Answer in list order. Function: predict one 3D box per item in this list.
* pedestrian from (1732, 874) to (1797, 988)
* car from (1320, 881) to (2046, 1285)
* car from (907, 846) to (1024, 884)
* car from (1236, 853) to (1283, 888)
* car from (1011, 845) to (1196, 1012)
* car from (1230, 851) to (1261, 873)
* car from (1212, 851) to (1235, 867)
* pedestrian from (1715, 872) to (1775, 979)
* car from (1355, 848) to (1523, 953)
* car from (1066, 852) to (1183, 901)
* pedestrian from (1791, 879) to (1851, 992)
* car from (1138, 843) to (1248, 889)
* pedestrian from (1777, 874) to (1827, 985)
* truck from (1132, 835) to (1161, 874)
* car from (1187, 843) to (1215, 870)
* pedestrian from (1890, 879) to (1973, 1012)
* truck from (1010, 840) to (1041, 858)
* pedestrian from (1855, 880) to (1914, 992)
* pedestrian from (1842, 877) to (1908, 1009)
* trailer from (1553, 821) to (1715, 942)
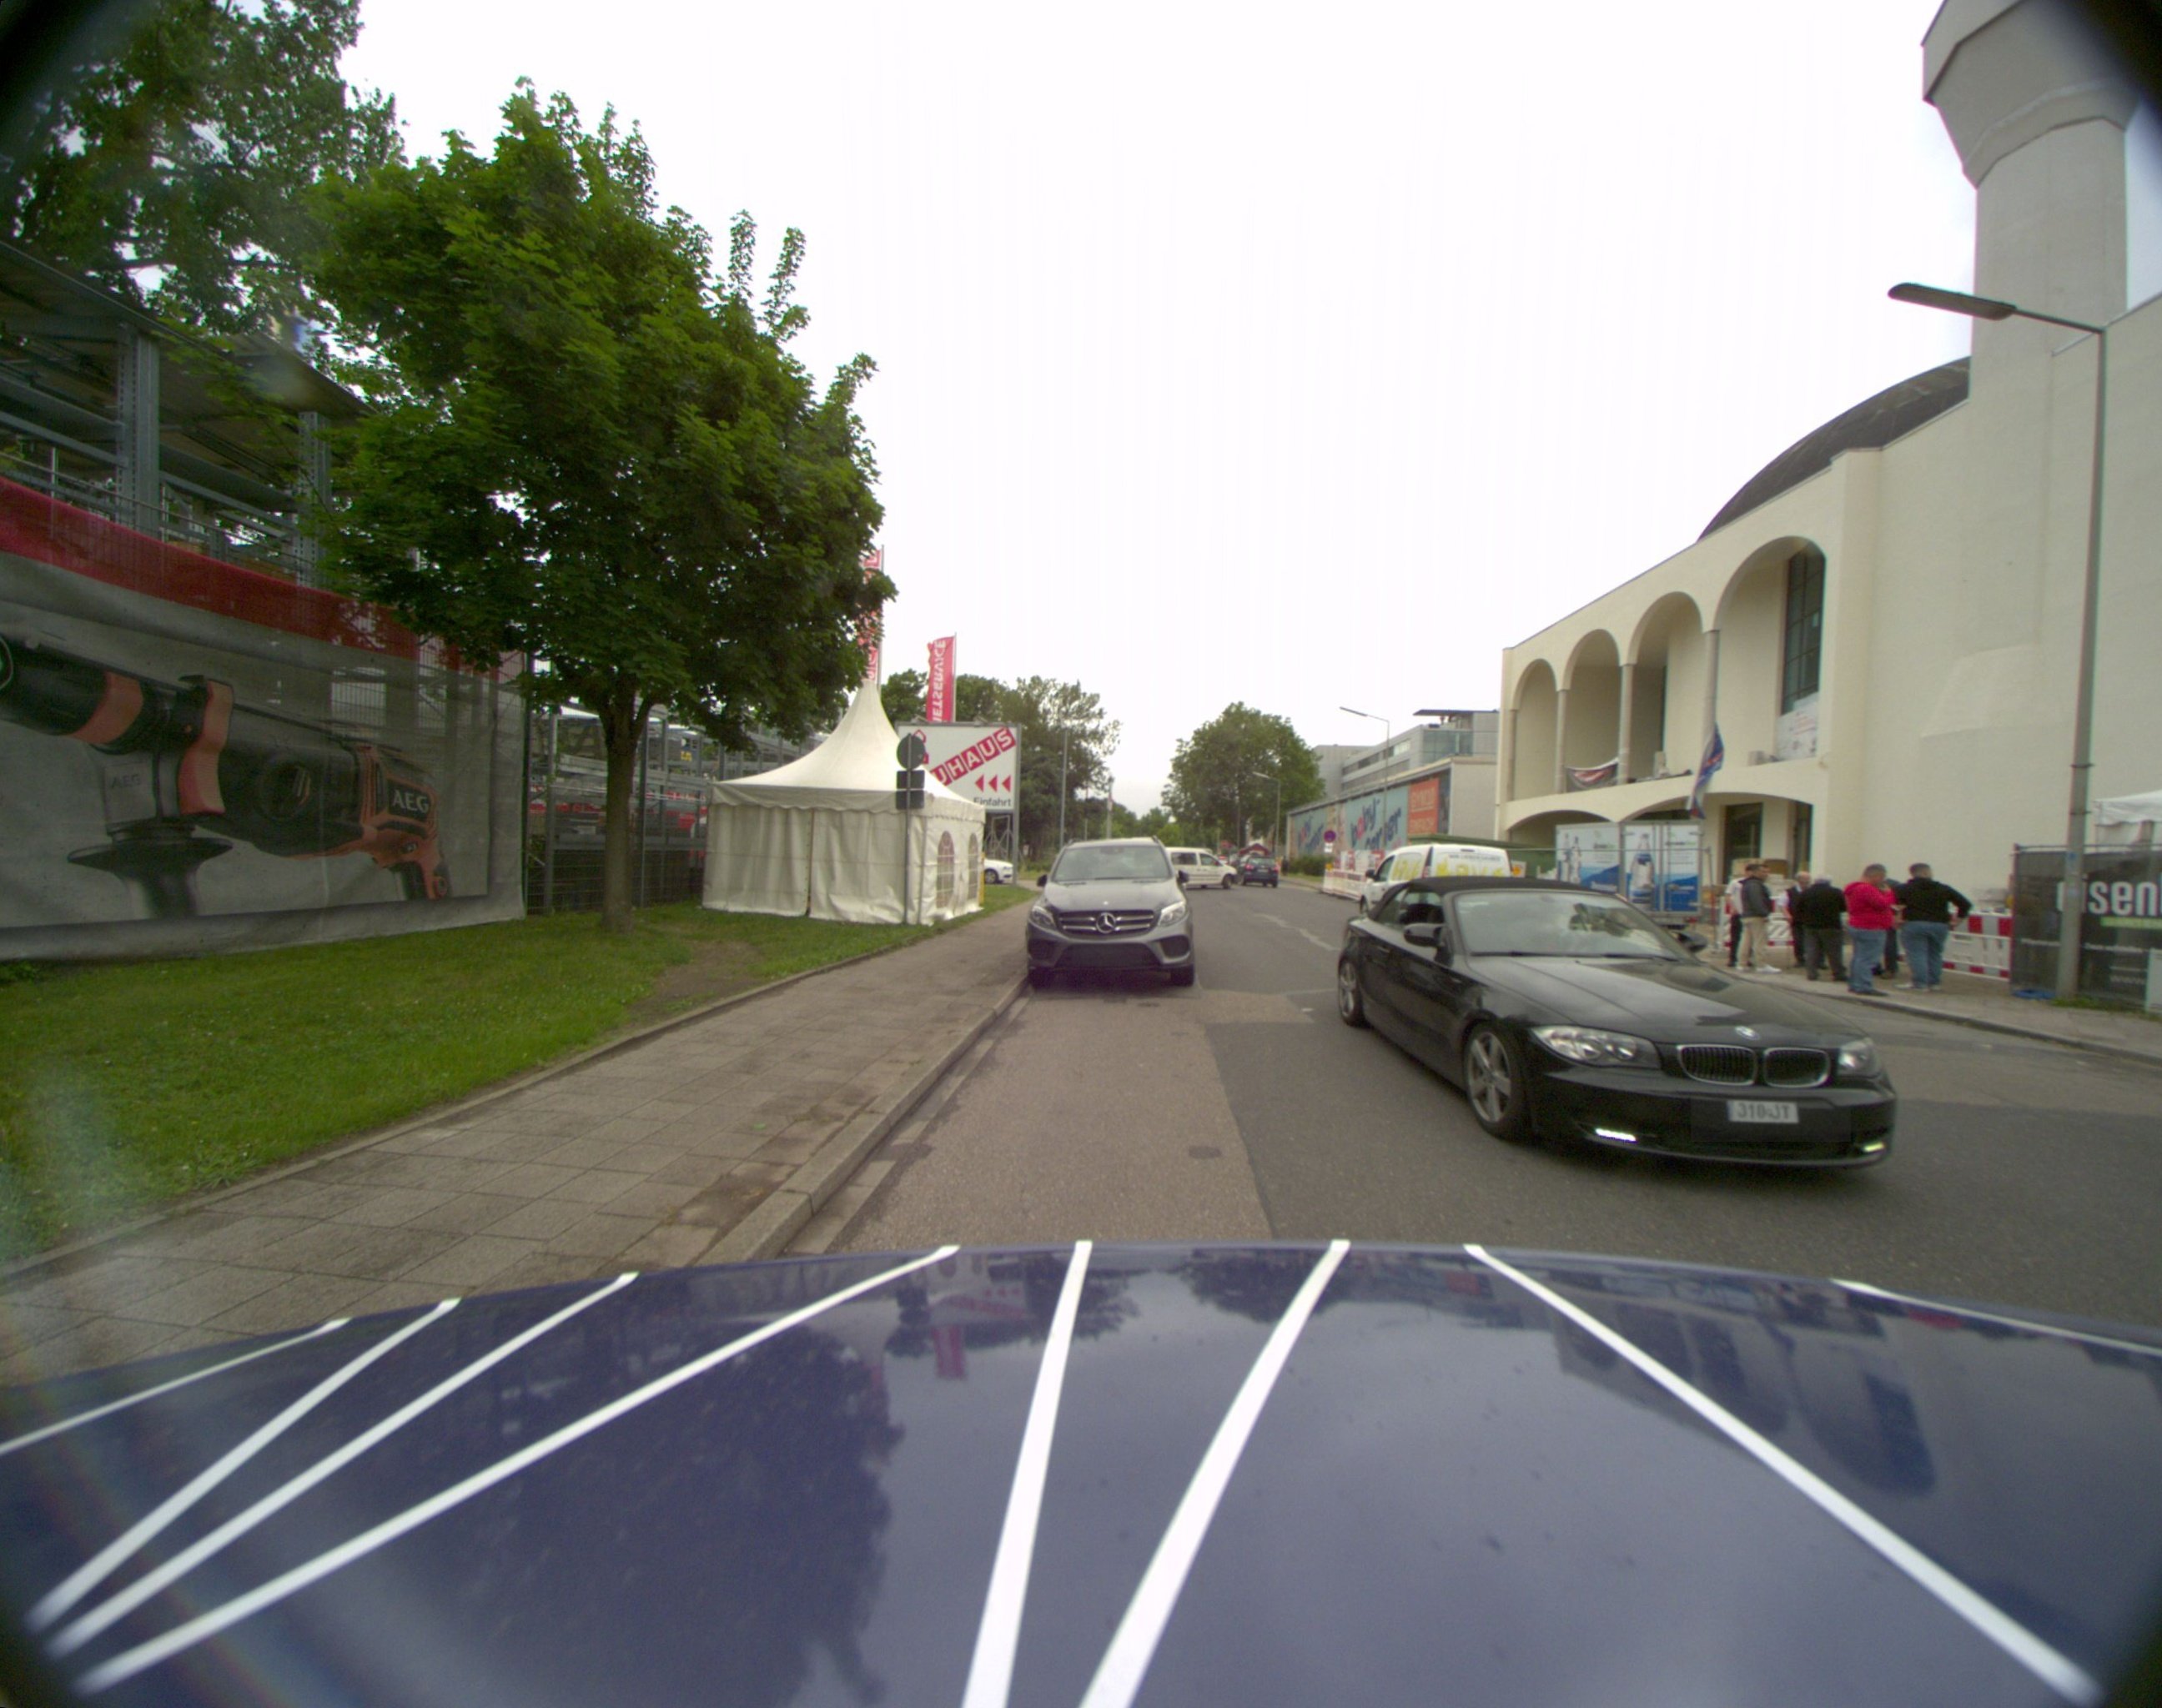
[{"bbox_3d":[10.989,1.208,12.225,0.689,1.739,0.492,3,1,44],"label":"pedestrian"},{"bbox_3d":[3.050,0.991,5.136,1.749,1.351,4.138,1,1,3],"label":"car"},{"bbox_3d":[-4.782,0.440,31.800,4.489,1.420,1.940,1,2,7],"label":"car"},{"bbox_3d":[8.979,0.789,38.470,1.732,1.563,3.948,3,1,5],"label":"car"},{"bbox_3d":[0.457,0.768,10.180,1.912,1.731,4.482,-1,0,6],"label":"car"},{"bbox_3d":[13.524,0.664,62.531,1.928,1.565,4.151,5,1,6],"label":"car"},{"bbox_3d":[15.209,0.506,81.239,1.928,1.565,4.151,5,1,6],"label":"car"},{"bbox_3d":[11.372,1.194,13.014,0.689,1.739,0.492,3,1,44],"label":"pedestrian"},{"bbox_3d":[6.896,0.784,15.160,1.693,1.751,4.136,2,1,6],"label":"car"},{"bbox_3d":[1.538,0.736,26.611,3.680,1.575,1.780,1,1,24],"label":"car"},{"bbox_3d":[11.048,1.188,11.351,0.570,1.602,0.492,3,1,44],"label":"pedestrian"},{"bbox_3d":[4.851,0.518,32.760,4.391,1.797,1.796,2,2,-28],"label":"car"},{"bbox_3d":[11.784,1.207,12.422,0.527,1.739,0.492,3,1,44],"label":"pedestrian"},{"bbox_3d":[4.543,0.022,52.629,1.852,2.597,4.001,-1,1,5],"label":"truck"},{"bbox_3d":[9.938,0.173,63.244,1.931,2.002,4.956,2,1,6],"label":"car"},{"bbox_3d":[11.576,1.203,10.342,0.689,1.707,0.694,0,-2,-41],"label":"pedestrian"},{"bbox_3d":[-7.721,-0.722,106.117,1.994,2.383,4.009,3,1,45],"label":"truck"},{"bbox_3d":[12.090,1.208,11.436,0.542,1.602,0.489,-1,2,-35],"label":"pedestrian"},{"bbox_3d":[10.533,1.148,10.080,0.534,1.682,0.512,1,-2,-37],"label":"pedestrian"},{"bbox_3d":[13.231,0.596,18.434,1.801,2.592,3.193,2,1,8],"label":"trailer"}]
